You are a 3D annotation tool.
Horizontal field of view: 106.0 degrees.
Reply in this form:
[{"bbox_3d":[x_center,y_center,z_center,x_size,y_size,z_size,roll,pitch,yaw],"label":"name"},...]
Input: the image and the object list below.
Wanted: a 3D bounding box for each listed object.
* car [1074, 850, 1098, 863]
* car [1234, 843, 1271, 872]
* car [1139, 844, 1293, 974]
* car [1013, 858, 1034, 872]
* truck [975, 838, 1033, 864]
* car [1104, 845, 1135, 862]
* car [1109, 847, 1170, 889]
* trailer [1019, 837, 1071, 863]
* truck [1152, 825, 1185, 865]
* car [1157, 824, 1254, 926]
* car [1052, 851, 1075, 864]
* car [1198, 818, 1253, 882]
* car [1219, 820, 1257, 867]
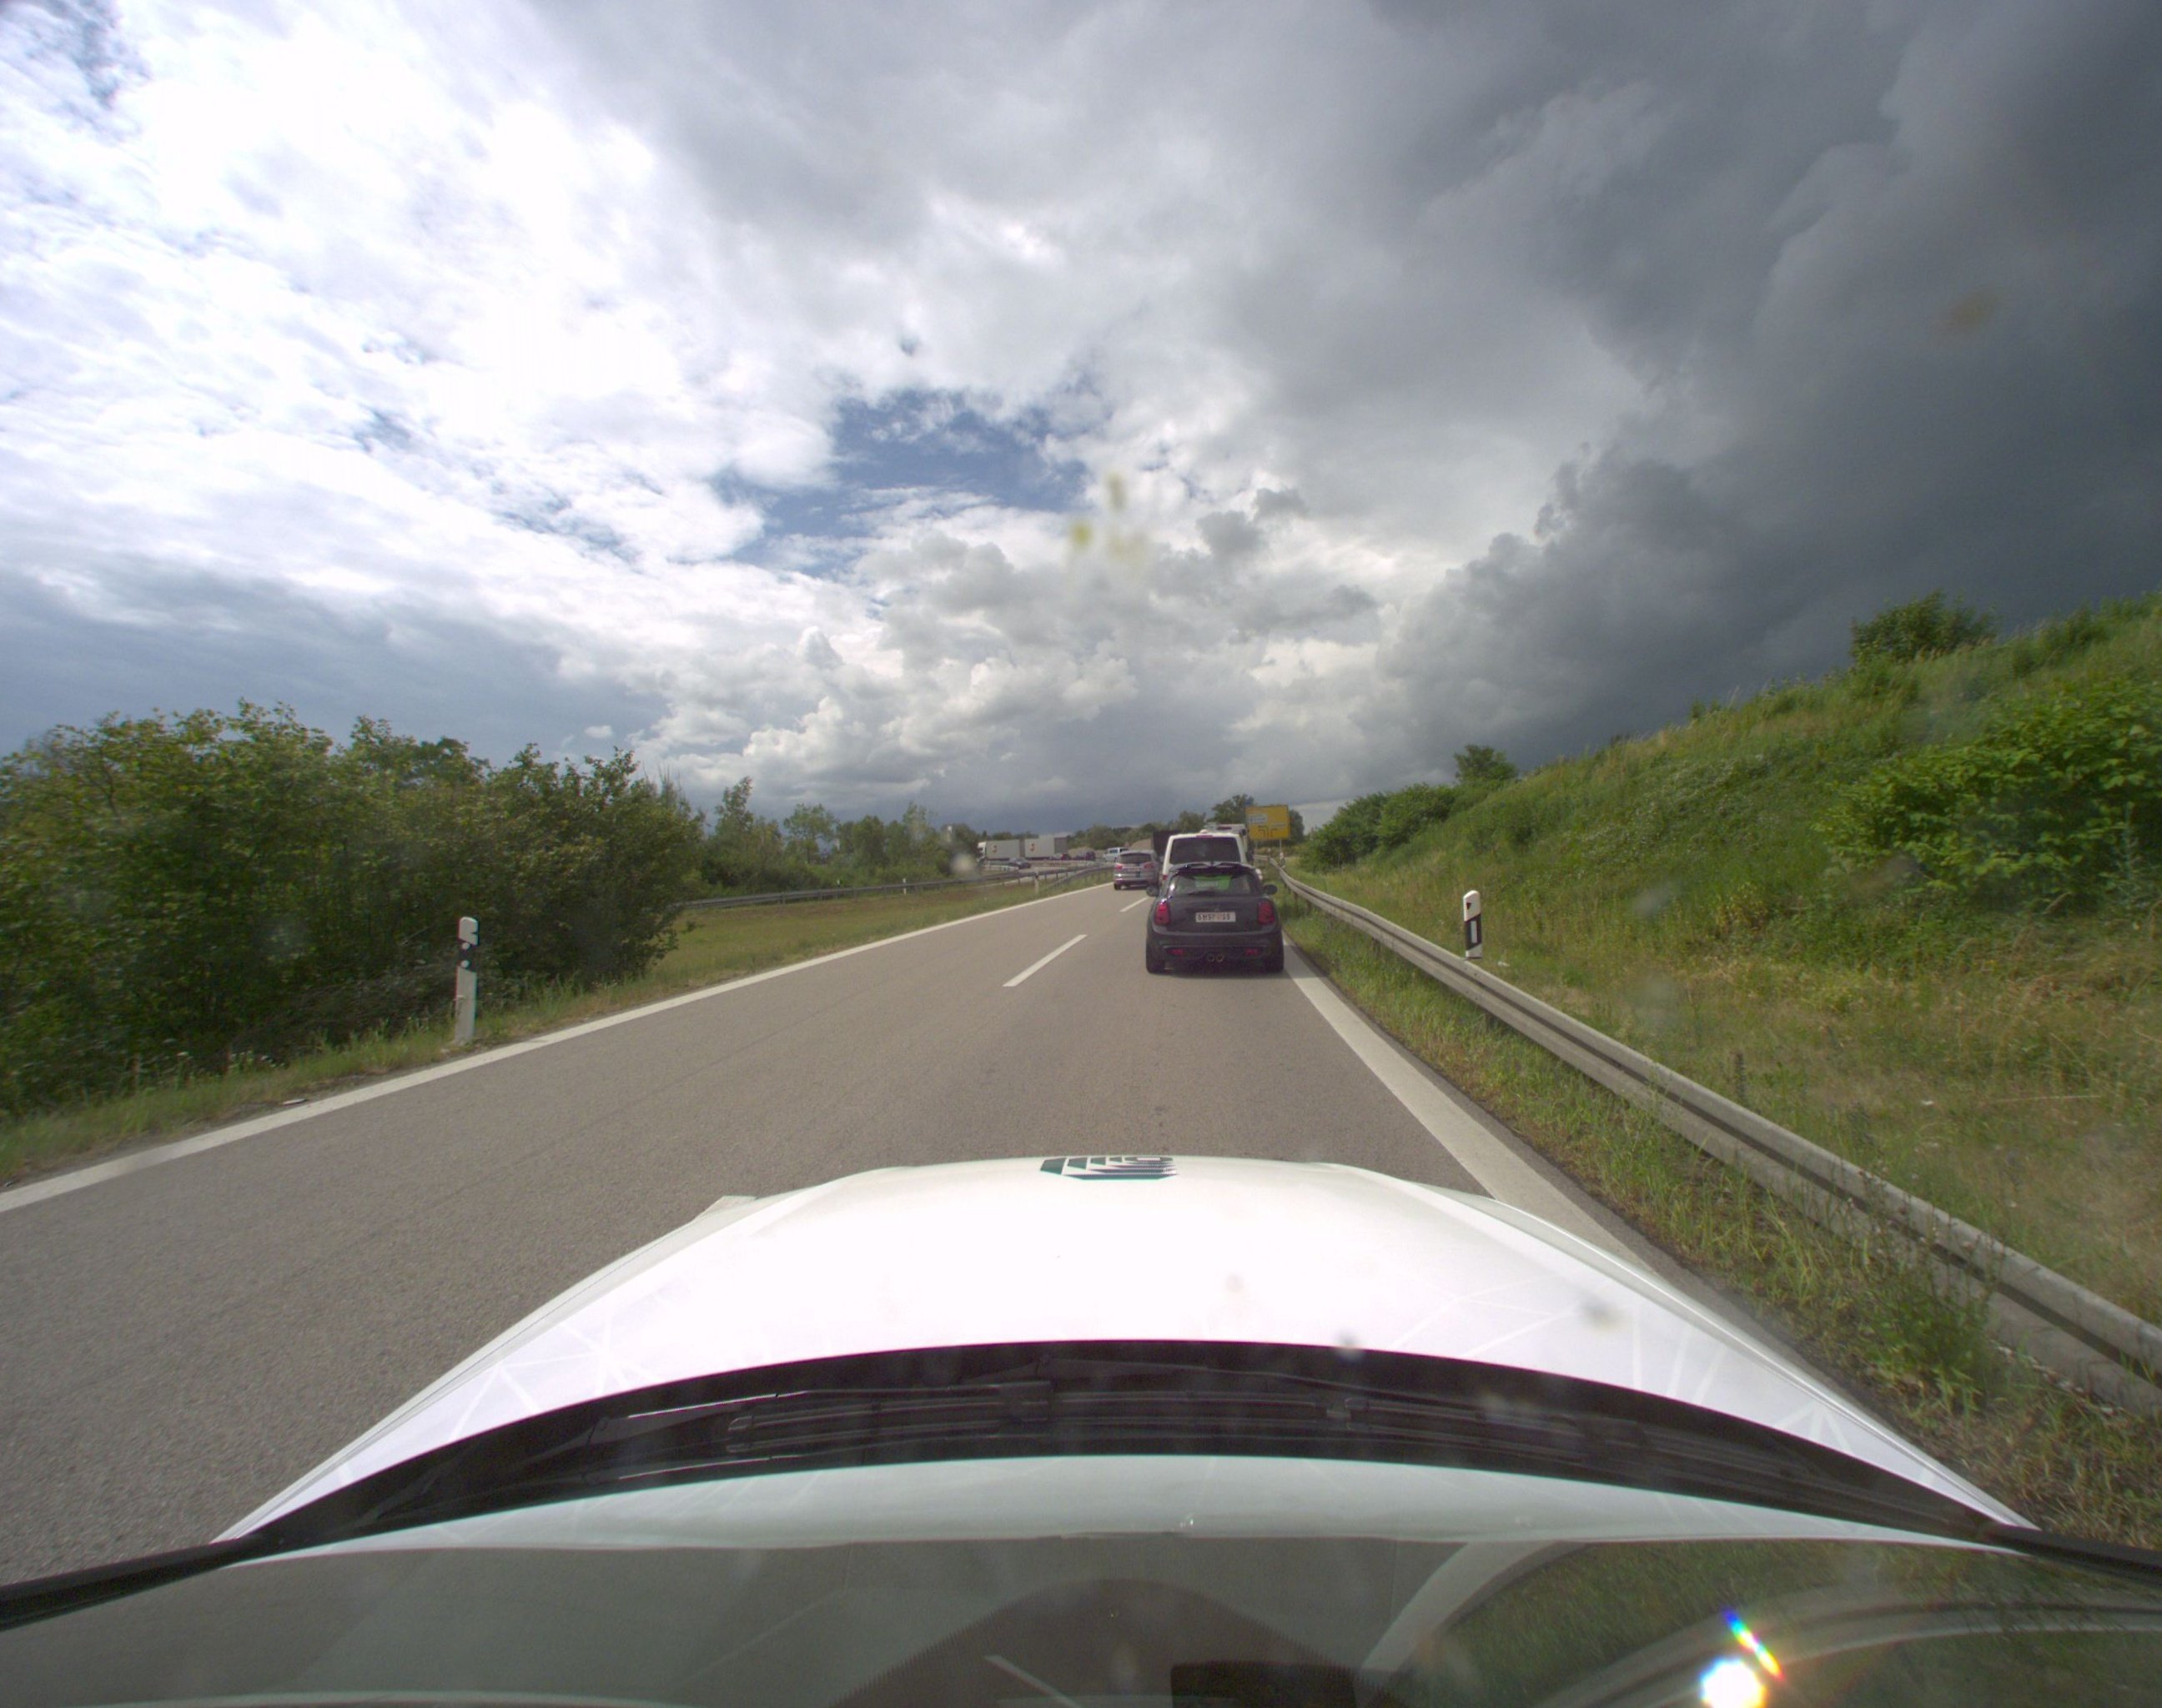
[{"bbox_3d":[0.695,0.427,119.103,1.931,1.838,4.281,0,-1,-26],"label":"car"},{"bbox_3d":[10.068,0.214,47.989,1.981,1.642,3.939,0,-1,10],"label":"car"},{"bbox_3d":[1.827,0.671,11.593,1.790,1.546,3.745,-1,0,7],"label":"car"},{"bbox_3d":[-7.412,1.477,104.054,1.764,1.593,3.976,-3,-1,-17],"label":"car"},{"bbox_3d":[-12.457,-0.398,131.201,9.900,3.976,2.863,-1,-1,38],"label":"truck"},{"bbox_3d":[5.232,-0.004,111.488,2.300,2.260,5.067,0,-1,-23],"label":"car"},{"bbox_3d":[2.581,0.594,34.756,2.008,1.577,4.600,-2,-1,11],"label":"car"},{"bbox_3d":[-5.593,-0.537,125.061,3.063,3.898,8.664,1,-2,-44],"label":"trailer"},{"bbox_3d":[7.443,-0.671,70.056,2.548,3.168,7.476,0,-1,4],"label":"truck"},{"bbox_3d":[2.864,0.452,18.483,1.899,2.045,4.192,-1,-1,10],"label":"car"},{"bbox_3d":[-2.563,0.505,117.137,1.822,1.756,3.966,0,-1,-25],"label":"car"},{"bbox_3d":[6.441,-0.106,36.306,2.198,2.623,5.549,-1,-1,10],"label":"car"},{"bbox_3d":[11.075,-0.608,57.012,2.295,3.069,6.685,-1,-1,13],"label":"car"}]
